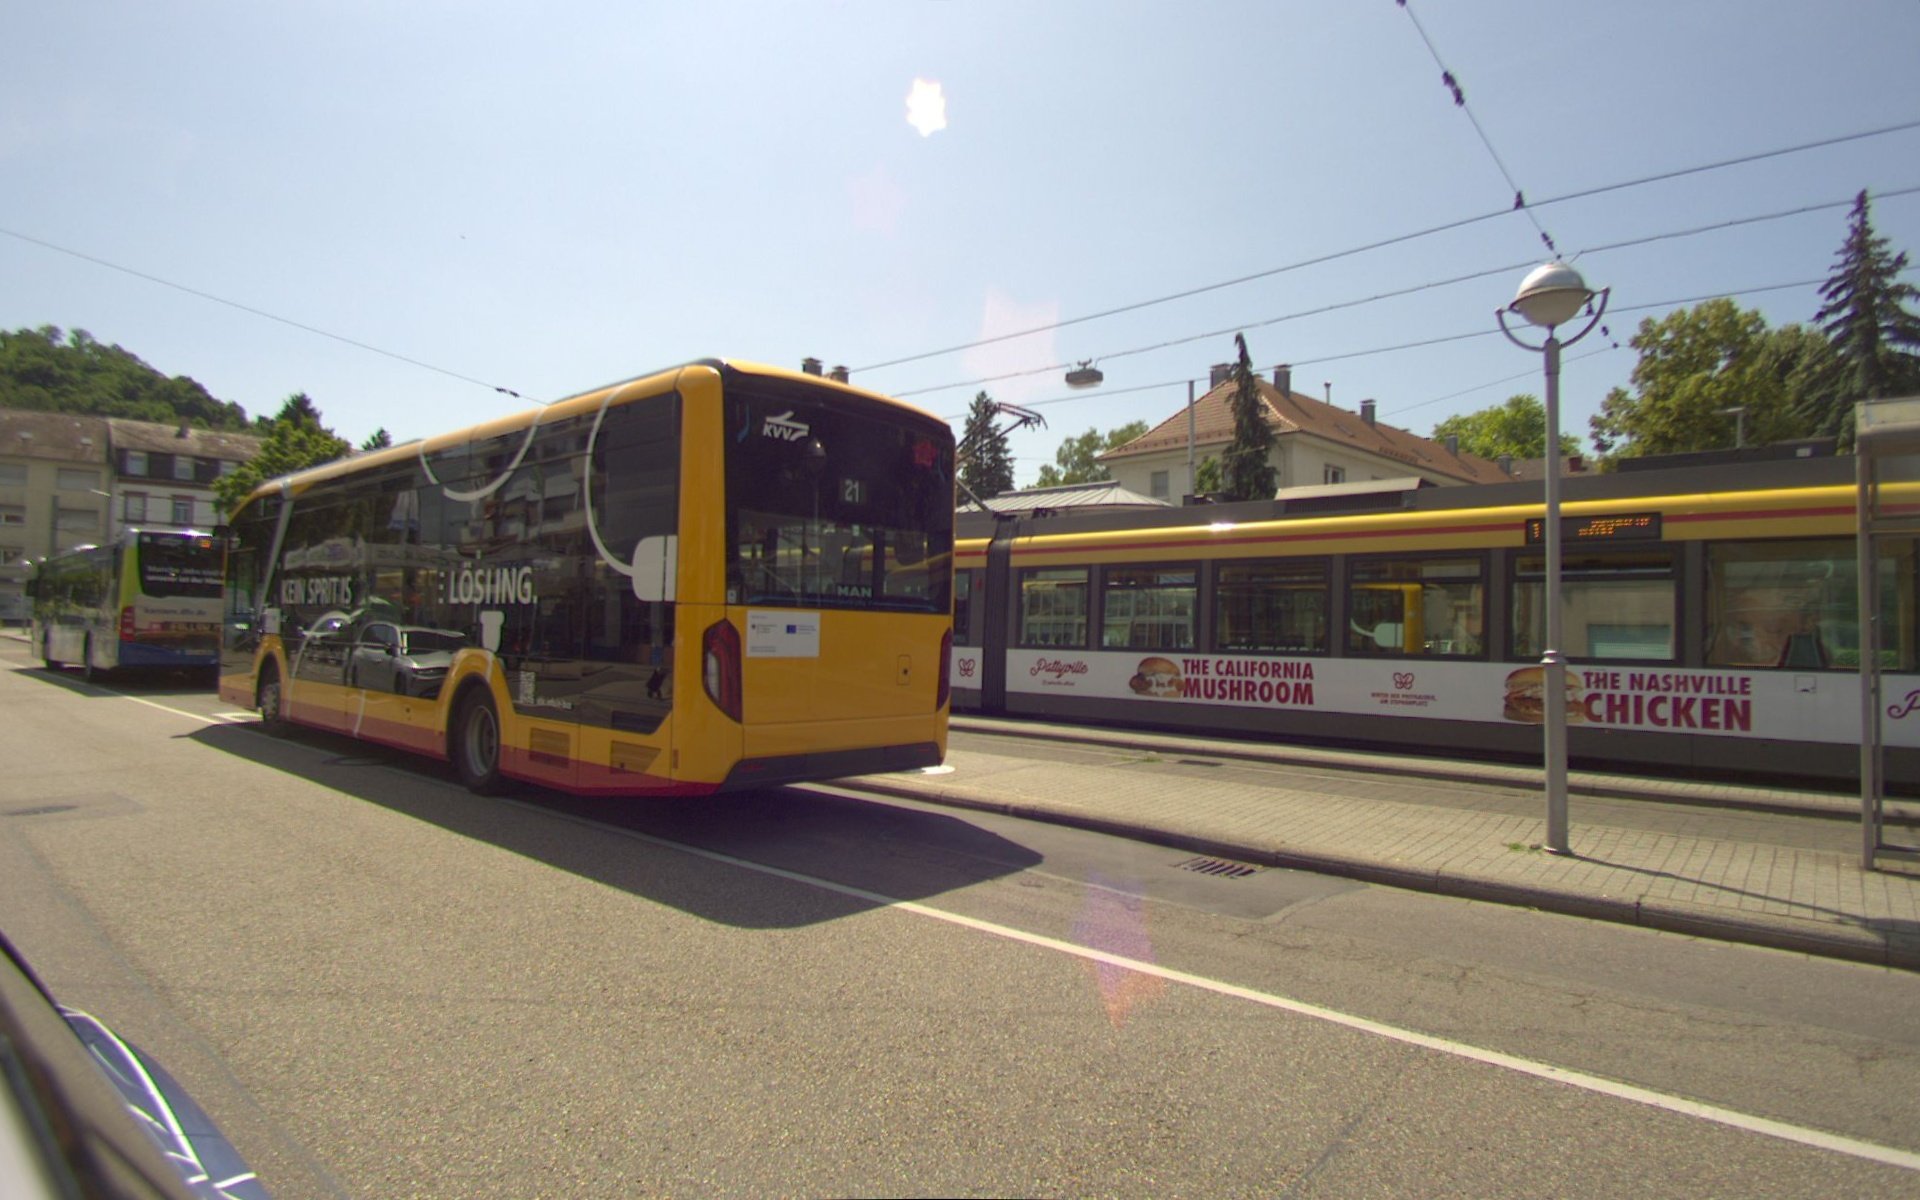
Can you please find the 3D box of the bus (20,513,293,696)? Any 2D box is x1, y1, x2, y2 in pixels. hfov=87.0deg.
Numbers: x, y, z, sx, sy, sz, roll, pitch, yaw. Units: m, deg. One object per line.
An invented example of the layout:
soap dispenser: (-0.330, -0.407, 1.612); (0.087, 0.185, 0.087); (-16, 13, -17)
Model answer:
bus: (-19.532, 0.236, 24.126); (12.031, 3.453, 2.878); (-2, -2, 41)

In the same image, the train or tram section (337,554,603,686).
train or tram section: (-16.055, 0.596, 32.324); (12.650, 3.522, 2.932); (-1, -1, 41)

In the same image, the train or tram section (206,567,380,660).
train or tram section: (-28.793, 0.571, 43.283); (12.706, 3.522, 2.932); (-1, -1, 41)

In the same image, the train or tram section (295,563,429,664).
train or tram section: (-22.379, 0.553, 37.823); (4.415, 3.522, 2.932); (-1, -3, 41)

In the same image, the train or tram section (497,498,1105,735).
train or tram section: (-4.914, 0.340, 22.532); (17.342, 3.670, 2.932); (-1, -1, 41)

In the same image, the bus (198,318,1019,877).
bus: (-5.039, -0.054, 11.060); (12.192, 3.272, 2.867); (1, 0, 42)

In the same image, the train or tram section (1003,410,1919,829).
train or tram section: (6.884, 0.211, 12.137); (13.986, 3.670, 2.932); (-1, -1, 41)
